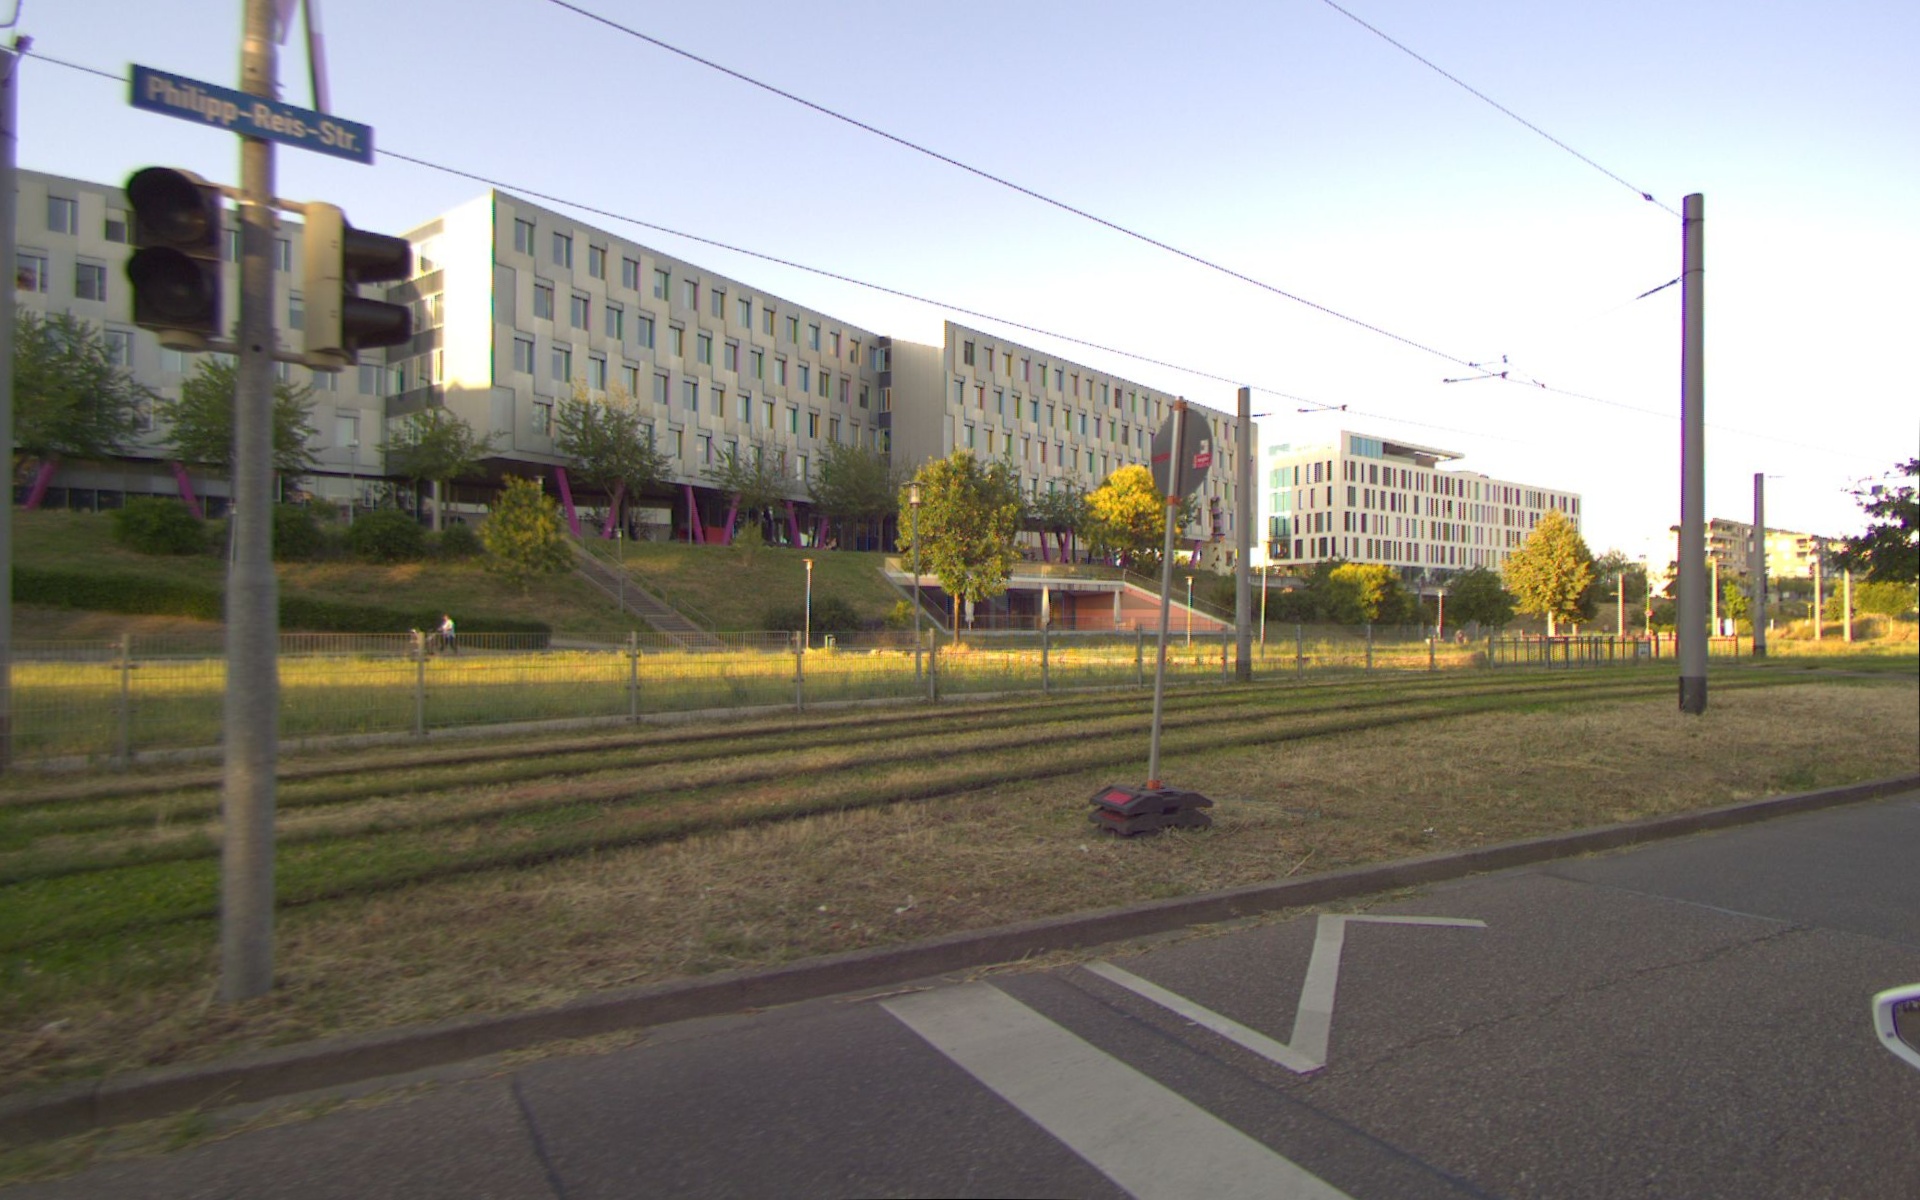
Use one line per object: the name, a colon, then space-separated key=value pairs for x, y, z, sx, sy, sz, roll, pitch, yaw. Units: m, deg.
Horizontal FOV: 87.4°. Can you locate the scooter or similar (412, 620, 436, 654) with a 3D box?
scooter or similar: x=-20.375 y=1.400 z=38.200 sx=0.781 sy=1.260 sz=0.613 roll=1 pitch=1 yaw=-31

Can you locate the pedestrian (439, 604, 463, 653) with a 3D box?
pedestrian: x=-19.591 y=1.094 z=38.637 sx=0.781 sy=1.861 sz=0.613 roll=1 pitch=1 yaw=-31

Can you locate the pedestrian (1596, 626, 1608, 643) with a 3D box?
pedestrian: x=71.988 y=3.877 z=112.607 sx=0.803 sy=1.810 sz=0.784 roll=1 pitch=-1 yaw=-26
